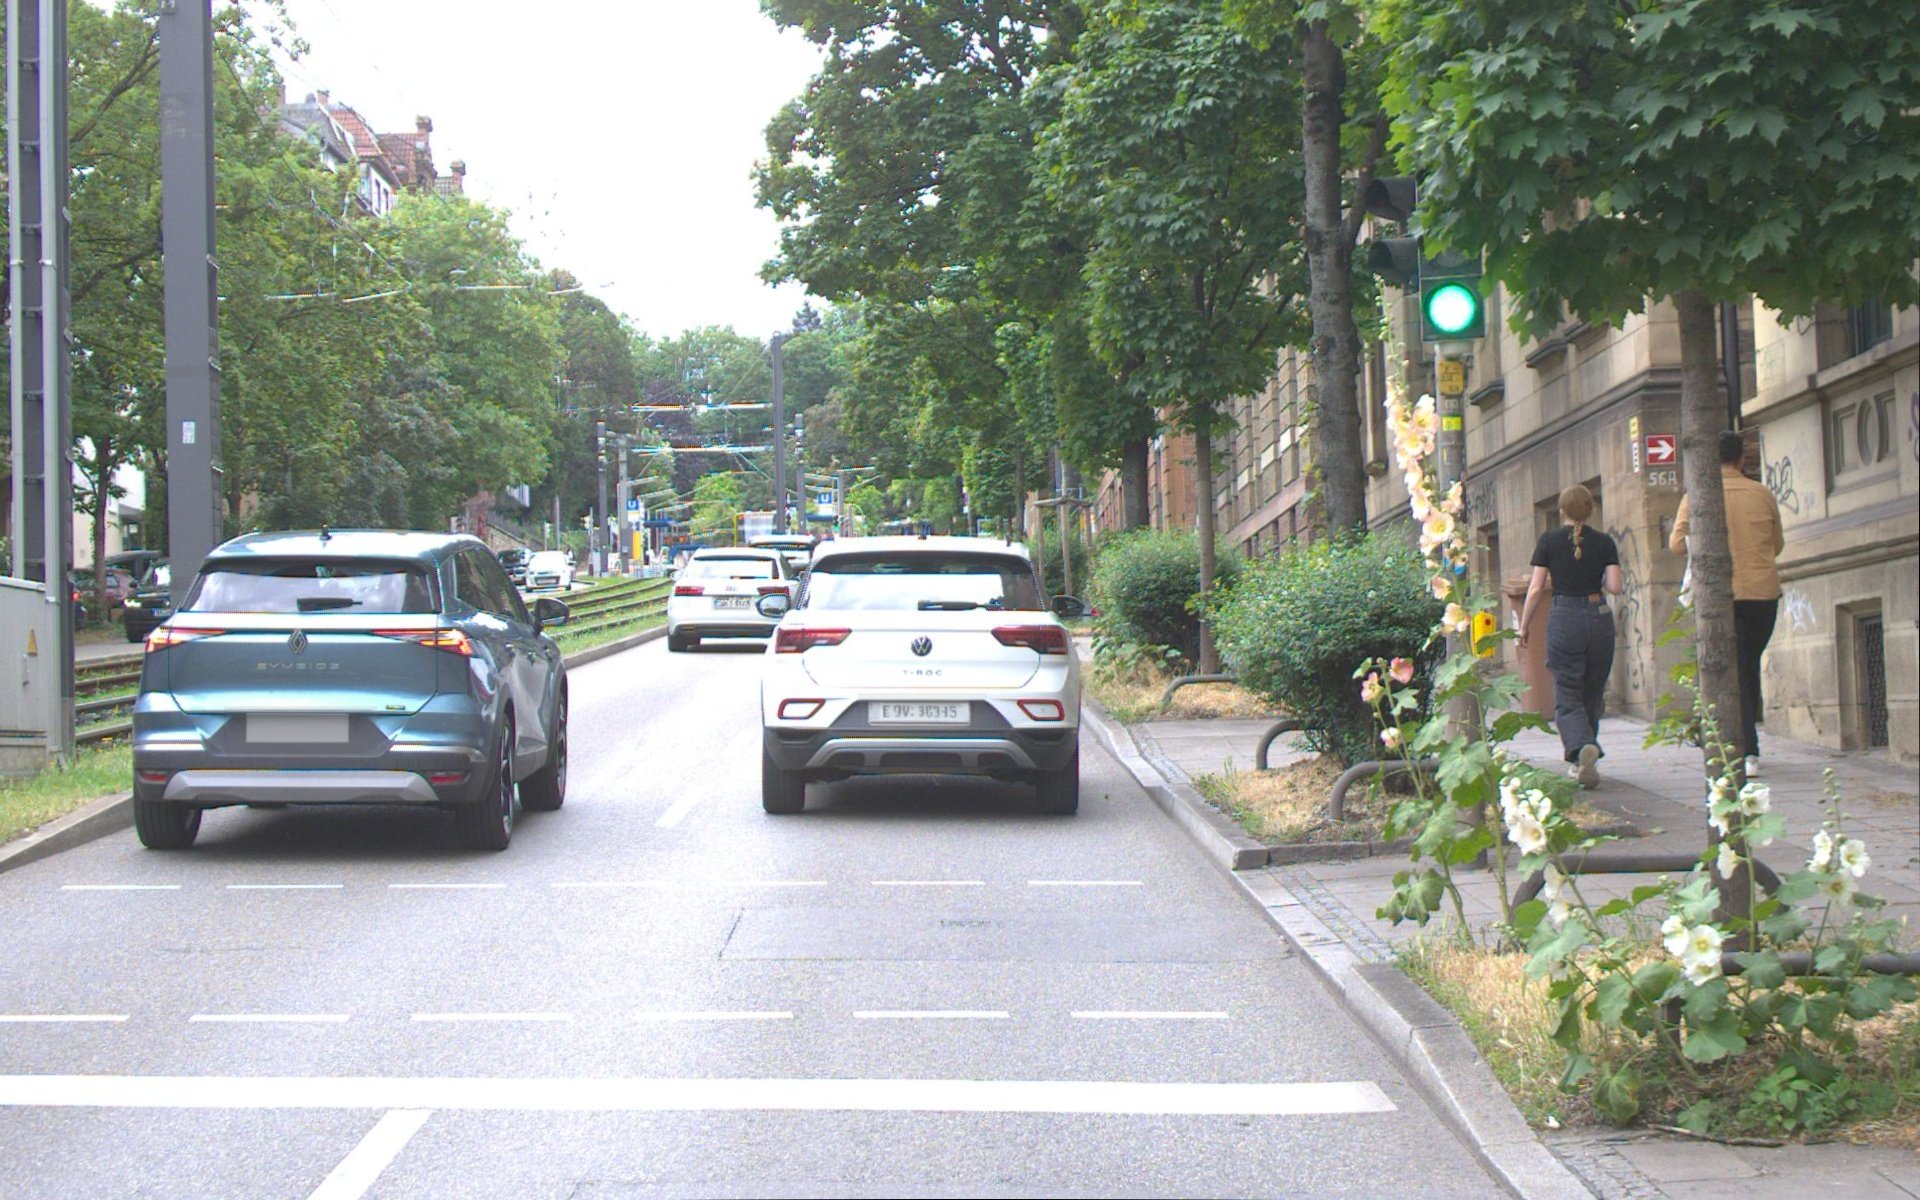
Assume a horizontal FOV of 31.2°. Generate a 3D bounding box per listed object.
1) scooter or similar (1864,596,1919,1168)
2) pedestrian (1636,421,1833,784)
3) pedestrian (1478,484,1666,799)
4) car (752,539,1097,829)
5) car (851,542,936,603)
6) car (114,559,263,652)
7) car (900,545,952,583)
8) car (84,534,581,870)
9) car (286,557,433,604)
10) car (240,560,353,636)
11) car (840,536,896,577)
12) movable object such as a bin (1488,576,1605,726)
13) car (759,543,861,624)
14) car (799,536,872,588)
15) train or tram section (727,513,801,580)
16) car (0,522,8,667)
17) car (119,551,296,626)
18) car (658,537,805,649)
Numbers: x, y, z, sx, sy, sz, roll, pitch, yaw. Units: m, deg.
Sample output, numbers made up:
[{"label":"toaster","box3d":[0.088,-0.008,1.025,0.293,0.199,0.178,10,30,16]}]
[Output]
[{"label":"scooter or similar","box3d":[2.492,0.633,7.356,0.662,1.299,1.384,-3,0,-1]},{"label":"pedestrian","box3d":[4.073,0.011,18.159,0.685,1.823,1.121,-3,0,-1]},{"label":"pedestrian","box3d":[3.210,0.200,18.125,0.685,1.569,1.216,-3,1,-1]},{"label":"car","box3d":[-0.241,0.429,20.408,1.835,1.541,4.194,0,1,-1]},{"label":"car","box3d":[-1.740,-0.712,88.730,2.068,1.541,4.194,0,1,-3]},{"label":"car","box3d":[-15.105,0.075,67.530,1.880,1.644,4.471,-3,1,-1]},{"label":"car","box3d":[-1.371,-1.463,140.741,2.068,1.541,4.193,0,1,0]},{"label":"car","box3d":[-3.119,0.450,17.905,1.835,1.541,4.193,0,1,0]},{"label":"car","box3d":[-20.680,-0.667,118.370,4.593,1.612,1.936,0,1,-34]},{"label":"car","box3d":[-15.468,-0.071,80.319,1.780,1.651,4.243,-3,1,0]},{"label":"car","box3d":[-3.497,-1.636,130.237,2.068,1.541,4.194,0,1,-2]},{"label":"movable object such as a bin","box3d":[4.221,0.362,24.769,0.671,1.012,0.582,-3,3,-3]},{"label":"car","box3d":[-2.917,-0.330,67.438,1.835,1.541,4.193,0,1,0]},{"label":"car","box3d":[-3.750,-1.137,103.031,2.068,1.541,4.194,0,1,-3]},{"label":"train or tram section","box3d":[-10.365,-2.816,182.706,2.996,3.337,13.439,-1,1,0]},{"label":"car","box3d":[-15.449,-0.251,47.848,2.392,2.690,6.518,-3,1,1]},{"label":"car","box3d":[-19.827,-0.314,90.628,4.177,1.830,1.872,-2,1,-27]},{"label":"car","box3d":[-3.231,-0.119,49.276,1.835,1.541,4.193,0,1,0]}]
